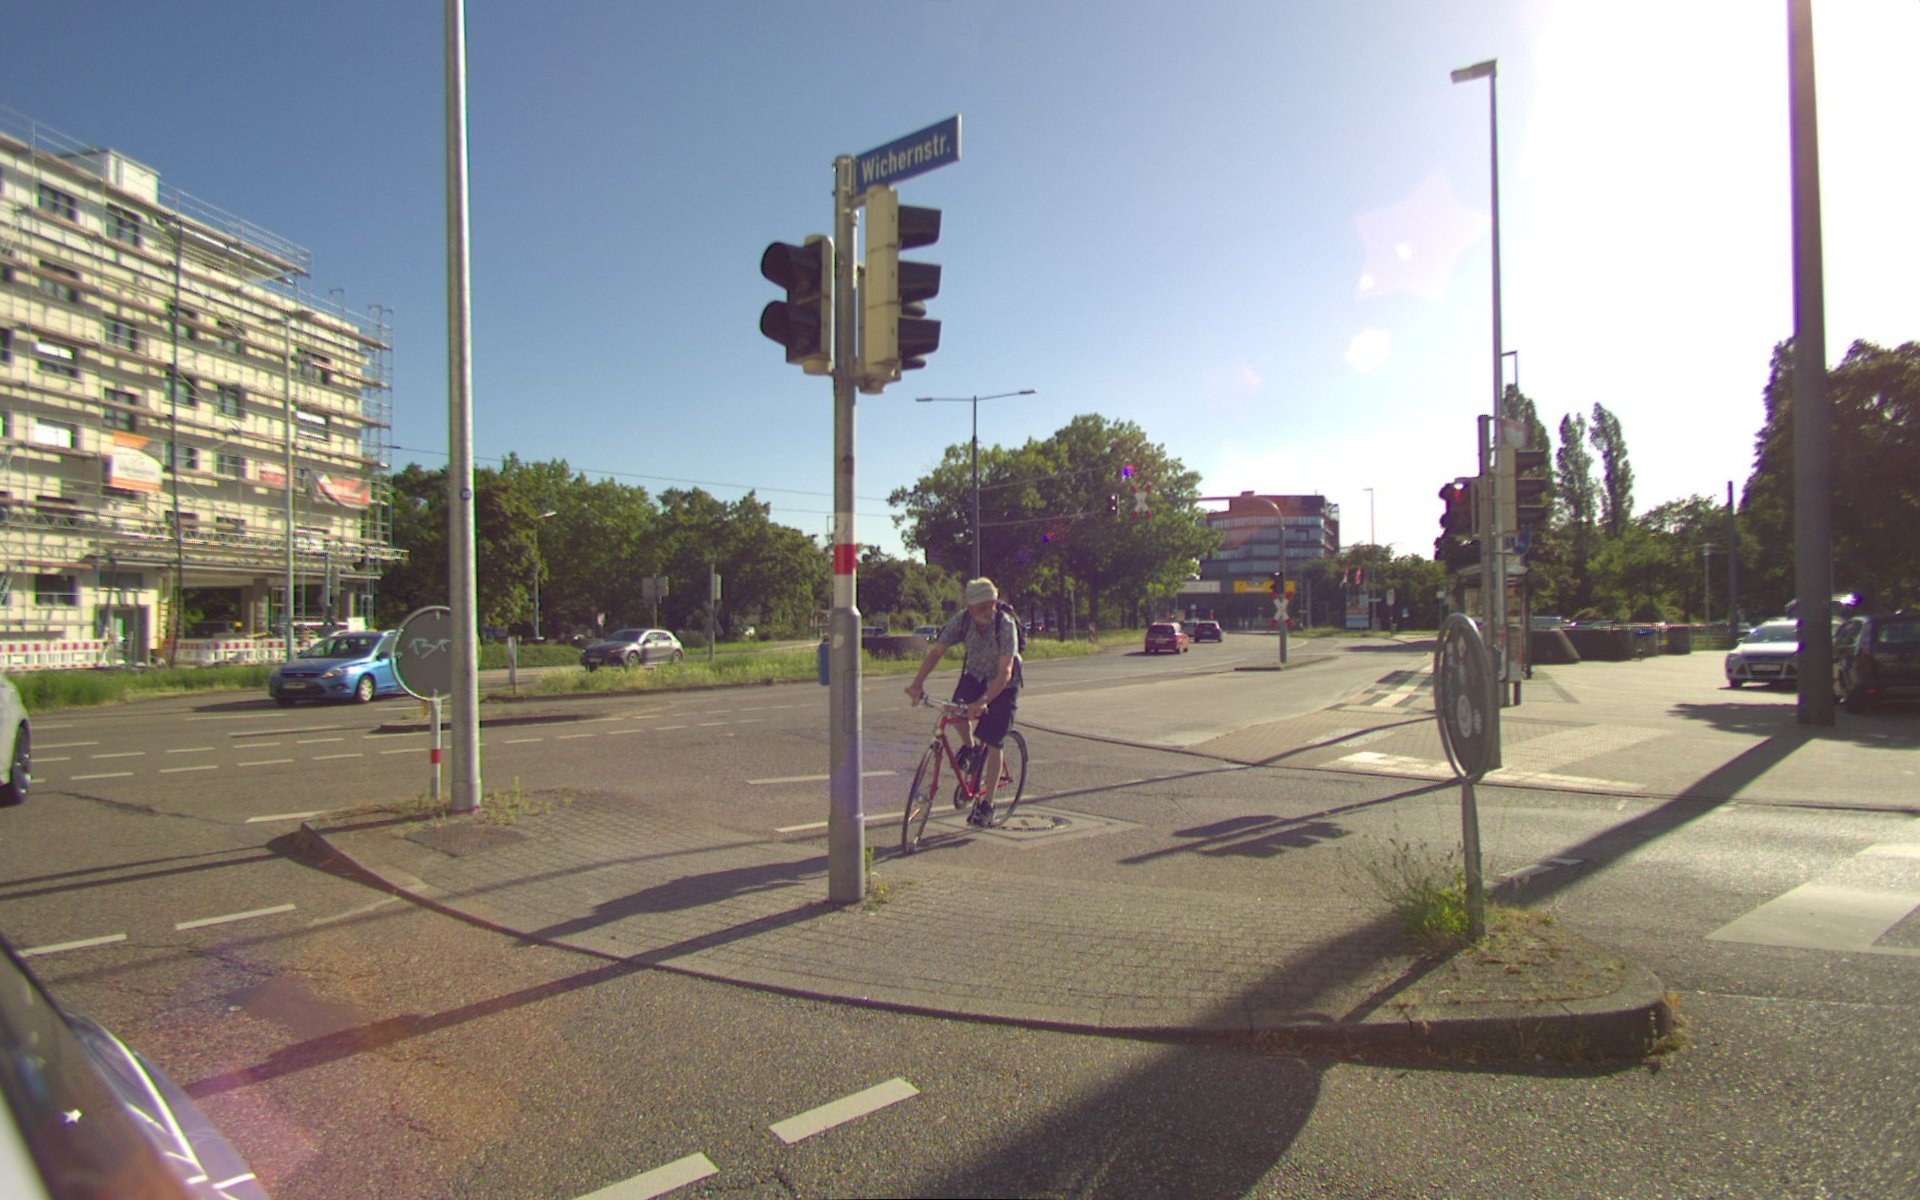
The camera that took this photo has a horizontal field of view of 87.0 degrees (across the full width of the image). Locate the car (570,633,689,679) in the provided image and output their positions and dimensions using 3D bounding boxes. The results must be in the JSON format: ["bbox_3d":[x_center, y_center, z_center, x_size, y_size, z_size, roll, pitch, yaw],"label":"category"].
[{"bbox_3d":[-11.472,1.917,35.455,1.856,1.467,4.463,-1,-2,15],"label":"car"}]

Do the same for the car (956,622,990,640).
[{"bbox_3d":[1.139,2.682,87.228,1.857,1.467,4.461,-1,-2,16],"label":"car"}]

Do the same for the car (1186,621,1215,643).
[{"bbox_3d":[19.117,2.540,80.711,1.978,1.675,4.469,-1,-2,11],"label":"car"}]

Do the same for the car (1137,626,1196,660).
[{"bbox_3d":[10.077,2.046,49.170,1.987,1.564,4.449,-1,-2,23],"label":"car"}]

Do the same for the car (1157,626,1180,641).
[{"bbox_3d":[24.340,3.945,118.401,1.974,1.675,4.479,-1,-2,4],"label":"car"}]

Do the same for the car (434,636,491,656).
[{"bbox_3d":[-35.547,3.267,72.402,1.802,1.405,3.672,-1,-2,11],"label":"car"}]

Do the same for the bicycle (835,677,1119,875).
[{"bbox_3d":[0.173,1.049,6.616,0.829,0.994,1.920,-2,-2,41],"label":"bicycle"}]

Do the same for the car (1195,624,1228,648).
[{"bbox_3d":[17.199,2.420,68.968,1.982,1.564,4.460,-1,-2,16],"label":"car"}]

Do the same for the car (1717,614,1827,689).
[{"bbox_3d":[17.955,1.097,22.522,1.680,1.519,3.552,-2,-2,36],"label":"car"}]

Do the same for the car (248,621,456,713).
[{"bbox_3d":[-13.101,1.396,22.190,1.848,1.789,4.484,-1,-2,0],"label":"car"}]

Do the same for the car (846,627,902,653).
[{"bbox_3d":[-5.016,2.361,59.751,1.857,1.467,4.461,-1,-2,16],"label":"car"}]

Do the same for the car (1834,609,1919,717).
[{"bbox_3d":[14.717,0.890,15.441,1.680,1.519,3.552,-4,-3,36],"label":"car"}]

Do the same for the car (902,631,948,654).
[{"bbox_3d":[-2.344,2.884,68.974,1.857,1.467,4.461,-1,-2,16],"label":"car"}]

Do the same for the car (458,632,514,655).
[{"bbox_3d":[-33.453,3.059,71.533,1.802,1.596,3.672,-1,-2,11],"label":"car"}]

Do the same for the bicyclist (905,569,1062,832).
[{"bbox_3d":[0.148,0.617,6.576,0.827,1.576,0.588,-2,-2,41],"label":"bicyclist"}]

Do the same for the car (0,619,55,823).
[{"bbox_3d":[-7.964,0.910,6.981,1.873,1.564,4.497,1,-2,-33],"label":"car"}]
